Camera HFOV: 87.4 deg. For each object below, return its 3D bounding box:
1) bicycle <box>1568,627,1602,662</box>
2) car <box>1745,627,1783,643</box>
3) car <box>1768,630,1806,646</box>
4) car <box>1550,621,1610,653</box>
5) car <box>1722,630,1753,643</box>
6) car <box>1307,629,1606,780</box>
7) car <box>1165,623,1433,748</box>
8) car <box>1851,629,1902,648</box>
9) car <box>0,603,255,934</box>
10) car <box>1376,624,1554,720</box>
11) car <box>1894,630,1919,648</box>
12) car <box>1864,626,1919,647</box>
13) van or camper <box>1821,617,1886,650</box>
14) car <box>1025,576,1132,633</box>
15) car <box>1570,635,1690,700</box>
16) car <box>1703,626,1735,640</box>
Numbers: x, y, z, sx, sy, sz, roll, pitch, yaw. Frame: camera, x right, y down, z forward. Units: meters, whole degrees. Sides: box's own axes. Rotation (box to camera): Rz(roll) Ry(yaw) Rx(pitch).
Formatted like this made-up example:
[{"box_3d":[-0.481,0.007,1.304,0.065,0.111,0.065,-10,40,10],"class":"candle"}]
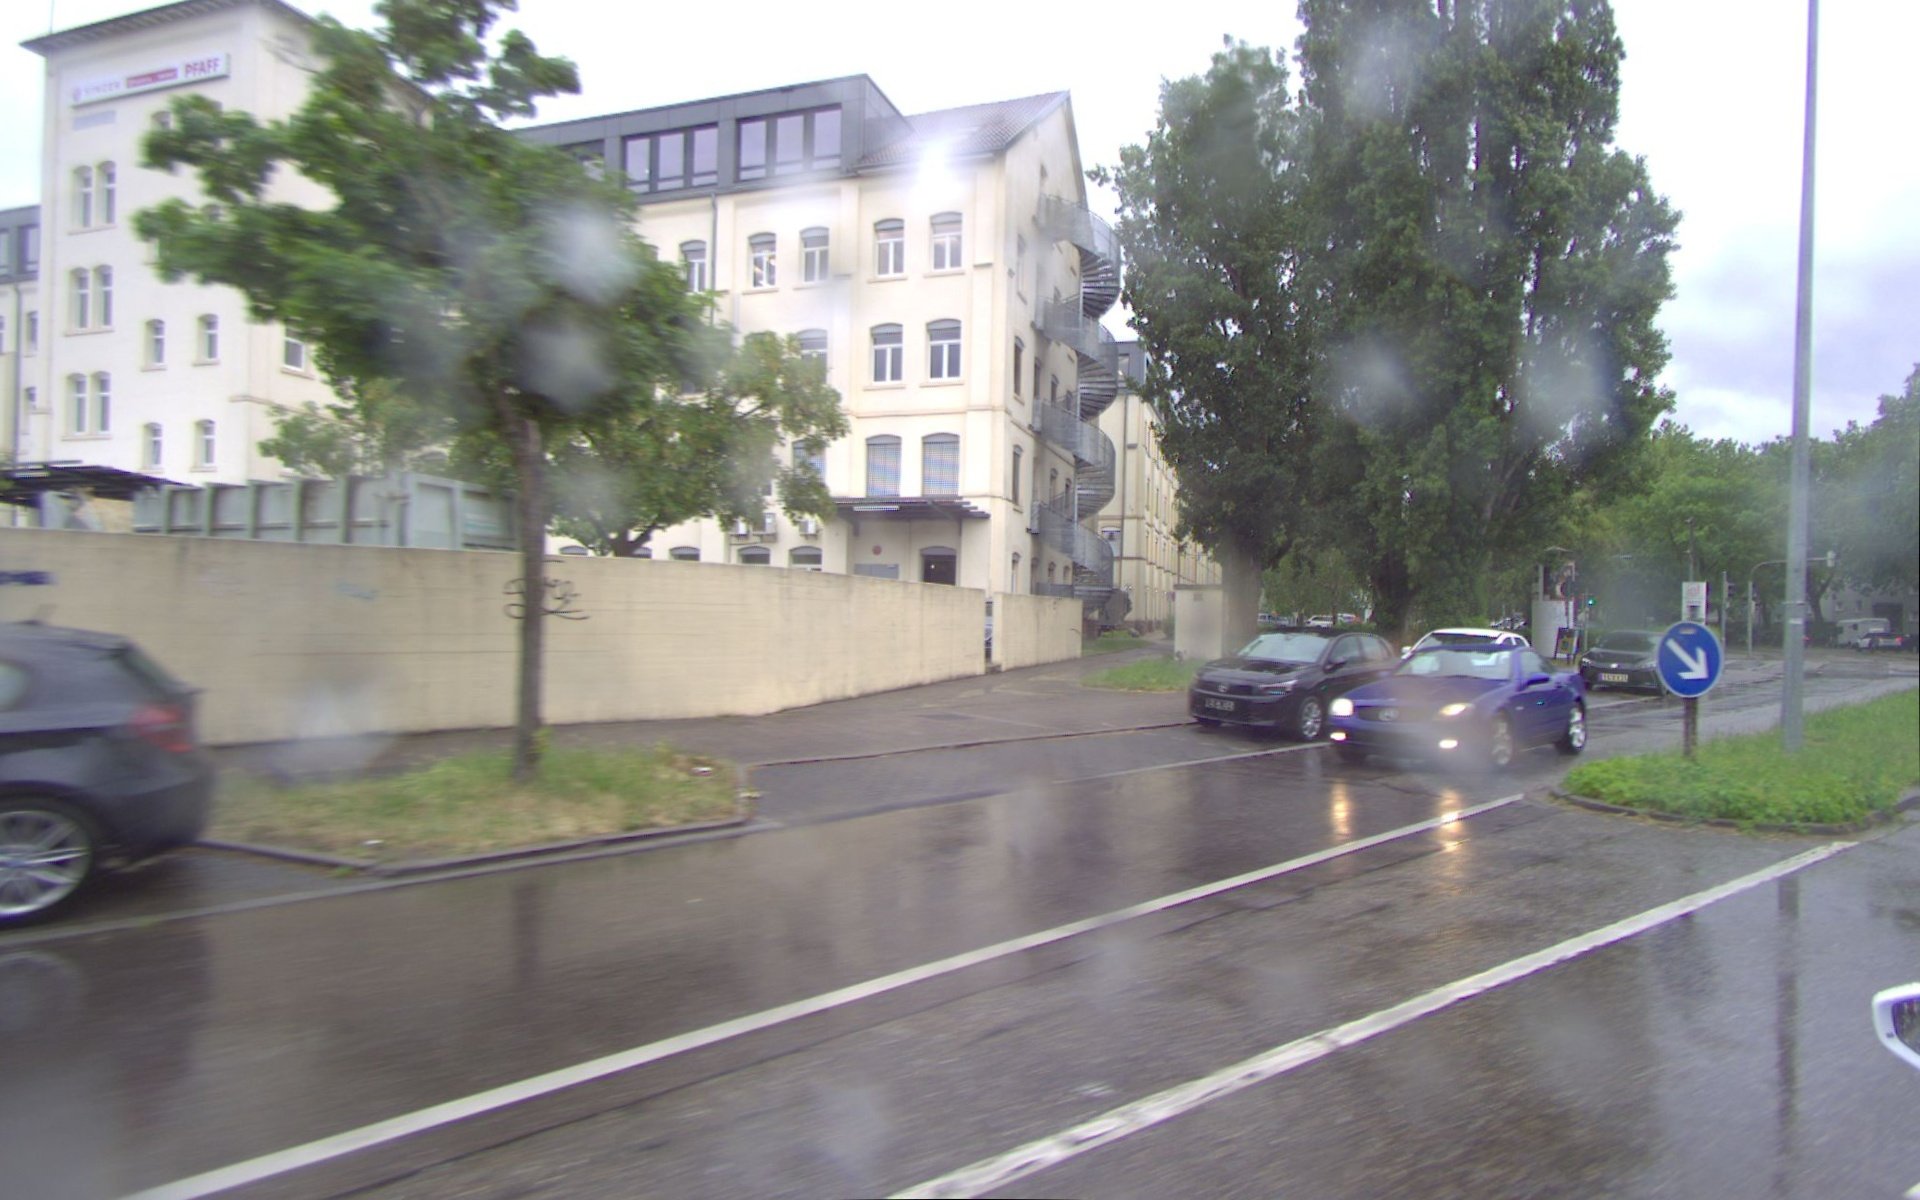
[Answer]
[{"box_3d":[22.631,1.606,36.367,0.690,1.202,1.615,2,0,44],"class":"bicycle"},{"box_3d":[89.729,3.925,112.139,1.884,1.642,4.371,2,0,19],"class":"car"},{"box_3d":[79.953,3.655,97.103,1.678,1.430,3.644,-1,-1,20],"class":"car"},{"box_3d":[35.313,2.071,57.286,1.746,1.708,4.027,1,-1,14],"class":"car"},{"box_3d":[85.713,4.021,110.737,1.678,1.430,3.644,-1,-1,20],"class":"car"},{"box_3d":[5.723,1.072,11.381,3.921,1.411,1.711,2,-4,-42],"class":"car"},{"box_3d":[4.862,1.104,14.103,4.149,1.401,1.711,2,1,-42],"class":"car"},{"box_3d":[71.887,2.998,78.816,1.678,1.430,3.644,-1,-1,20],"class":"car"},{"box_3d":[-5.748,0.742,4.507,4.066,1.464,1.681,2,0,-41],"class":"car"},{"box_3d":[9.255,1.244,18.264,4.094,1.493,1.586,2,0,-44],"class":"car"},{"box_3d":[77.406,3.169,81.115,1.524,1.408,4.148,2,0,23],"class":"car"},{"box_3d":[79.112,3.152,85.316,1.884,1.641,4.455,2,-2,19],"class":"car"},{"box_3d":[83.013,3.103,93.440,2.281,2.844,6.862,2,-1,22],"class":"van or camper"},{"box_3d":[7.354,0.268,62.213,6.092,3.236,2.839,2,0,18],"class":"car"},{"box_3d":[16.985,1.651,25.382,4.164,1.416,1.530,2,1,-42],"class":"car"},{"box_3d":[94.526,4.055,125.165,1.884,1.642,4.371,2,0,19],"class":"car"}]
